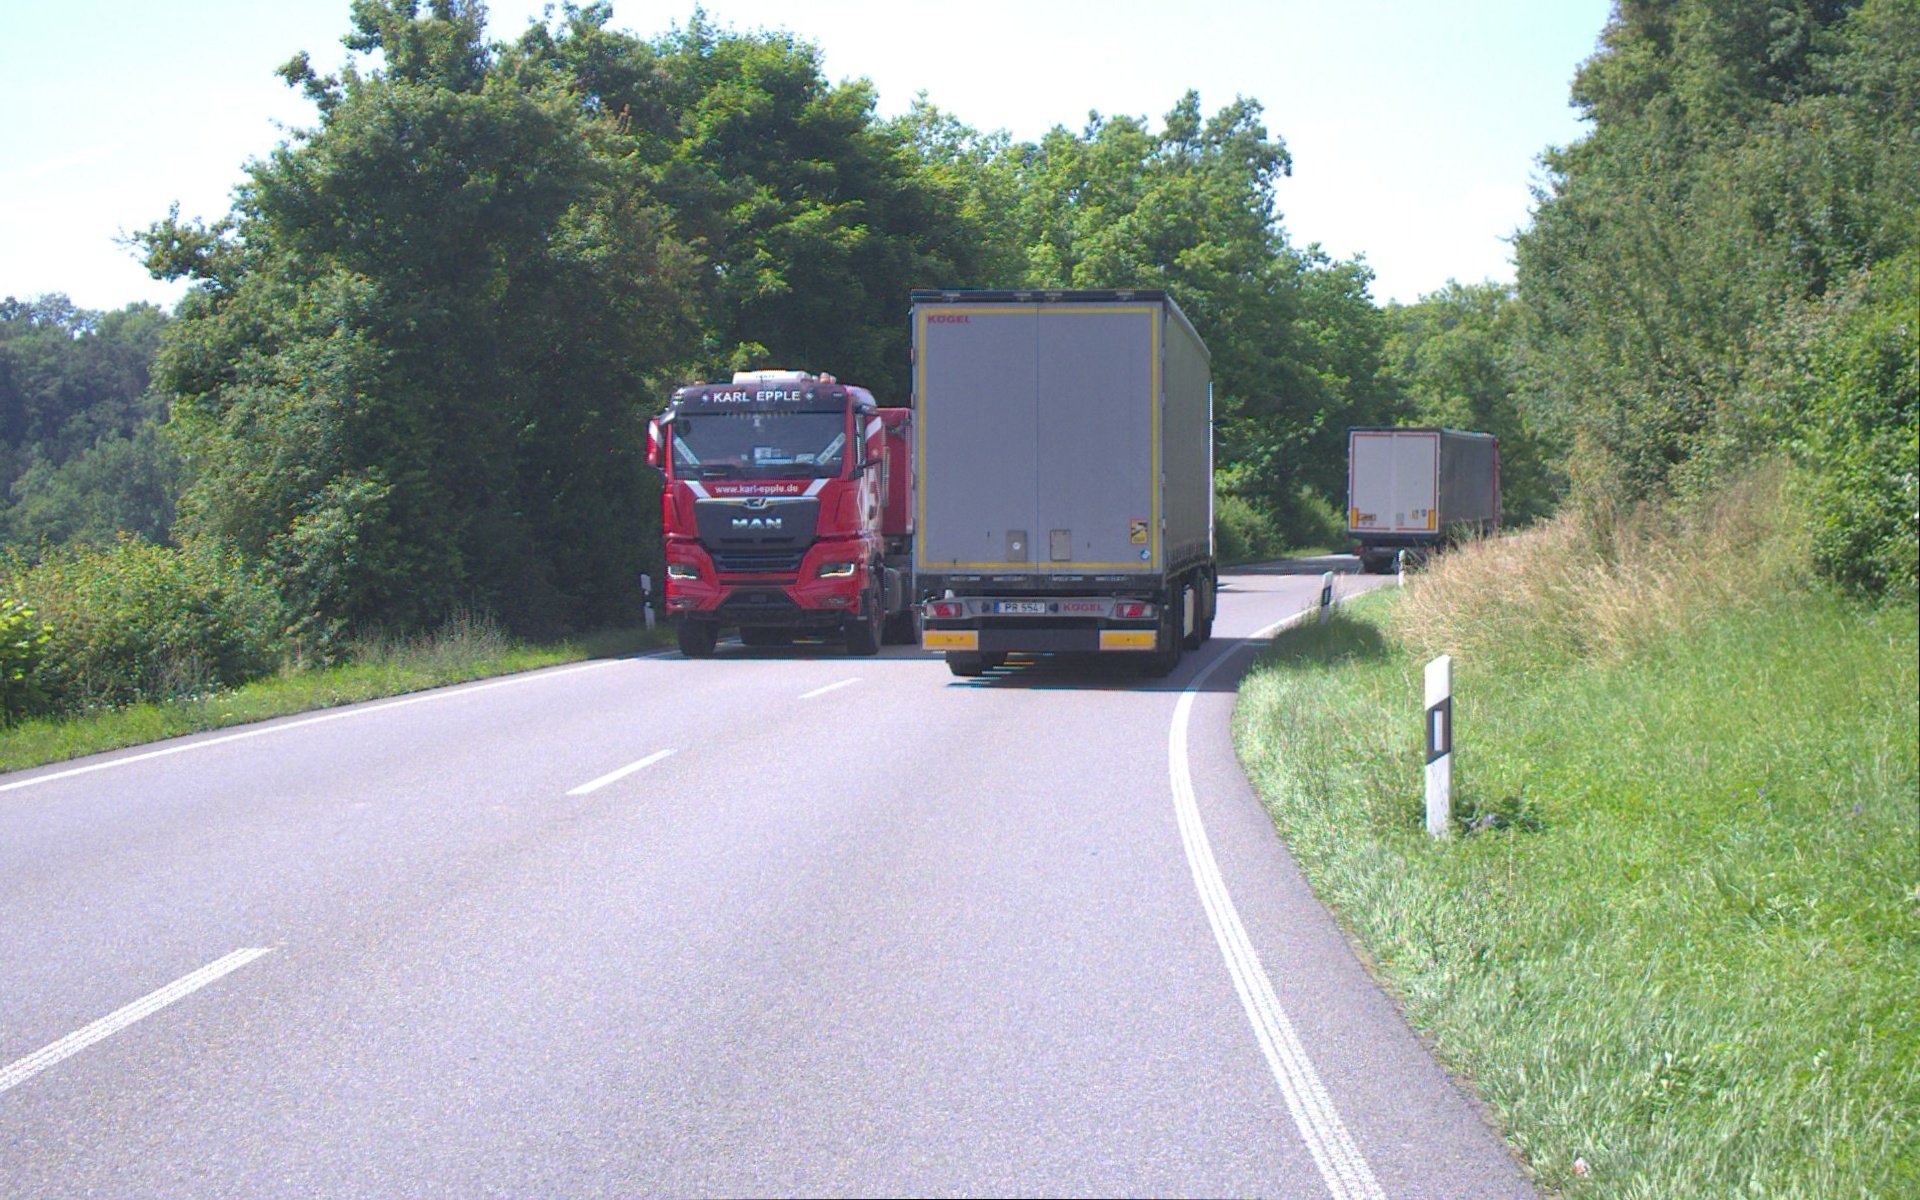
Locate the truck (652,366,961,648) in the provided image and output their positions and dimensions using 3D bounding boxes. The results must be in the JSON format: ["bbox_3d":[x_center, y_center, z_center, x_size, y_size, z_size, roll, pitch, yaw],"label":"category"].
[{"bbox_3d":[-1.882,-1.257,48.374,2.553,3.440,12.632,0,1,6],"label":"truck"}]

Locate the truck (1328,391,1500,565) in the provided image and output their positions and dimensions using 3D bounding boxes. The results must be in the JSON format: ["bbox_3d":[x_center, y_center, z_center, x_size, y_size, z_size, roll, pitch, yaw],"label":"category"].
[{"bbox_3d":[13.656,-3.684,101.951,3.107,4.689,16.580,-1,2,14],"label":"truck"}]

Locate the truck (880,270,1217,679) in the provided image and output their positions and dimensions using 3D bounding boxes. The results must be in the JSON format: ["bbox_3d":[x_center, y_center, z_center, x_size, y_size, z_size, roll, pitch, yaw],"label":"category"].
[{"bbox_3d":[1.445,-1.433,41.825,2.802,4.054,15.322,0,1,6],"label":"truck"}]
